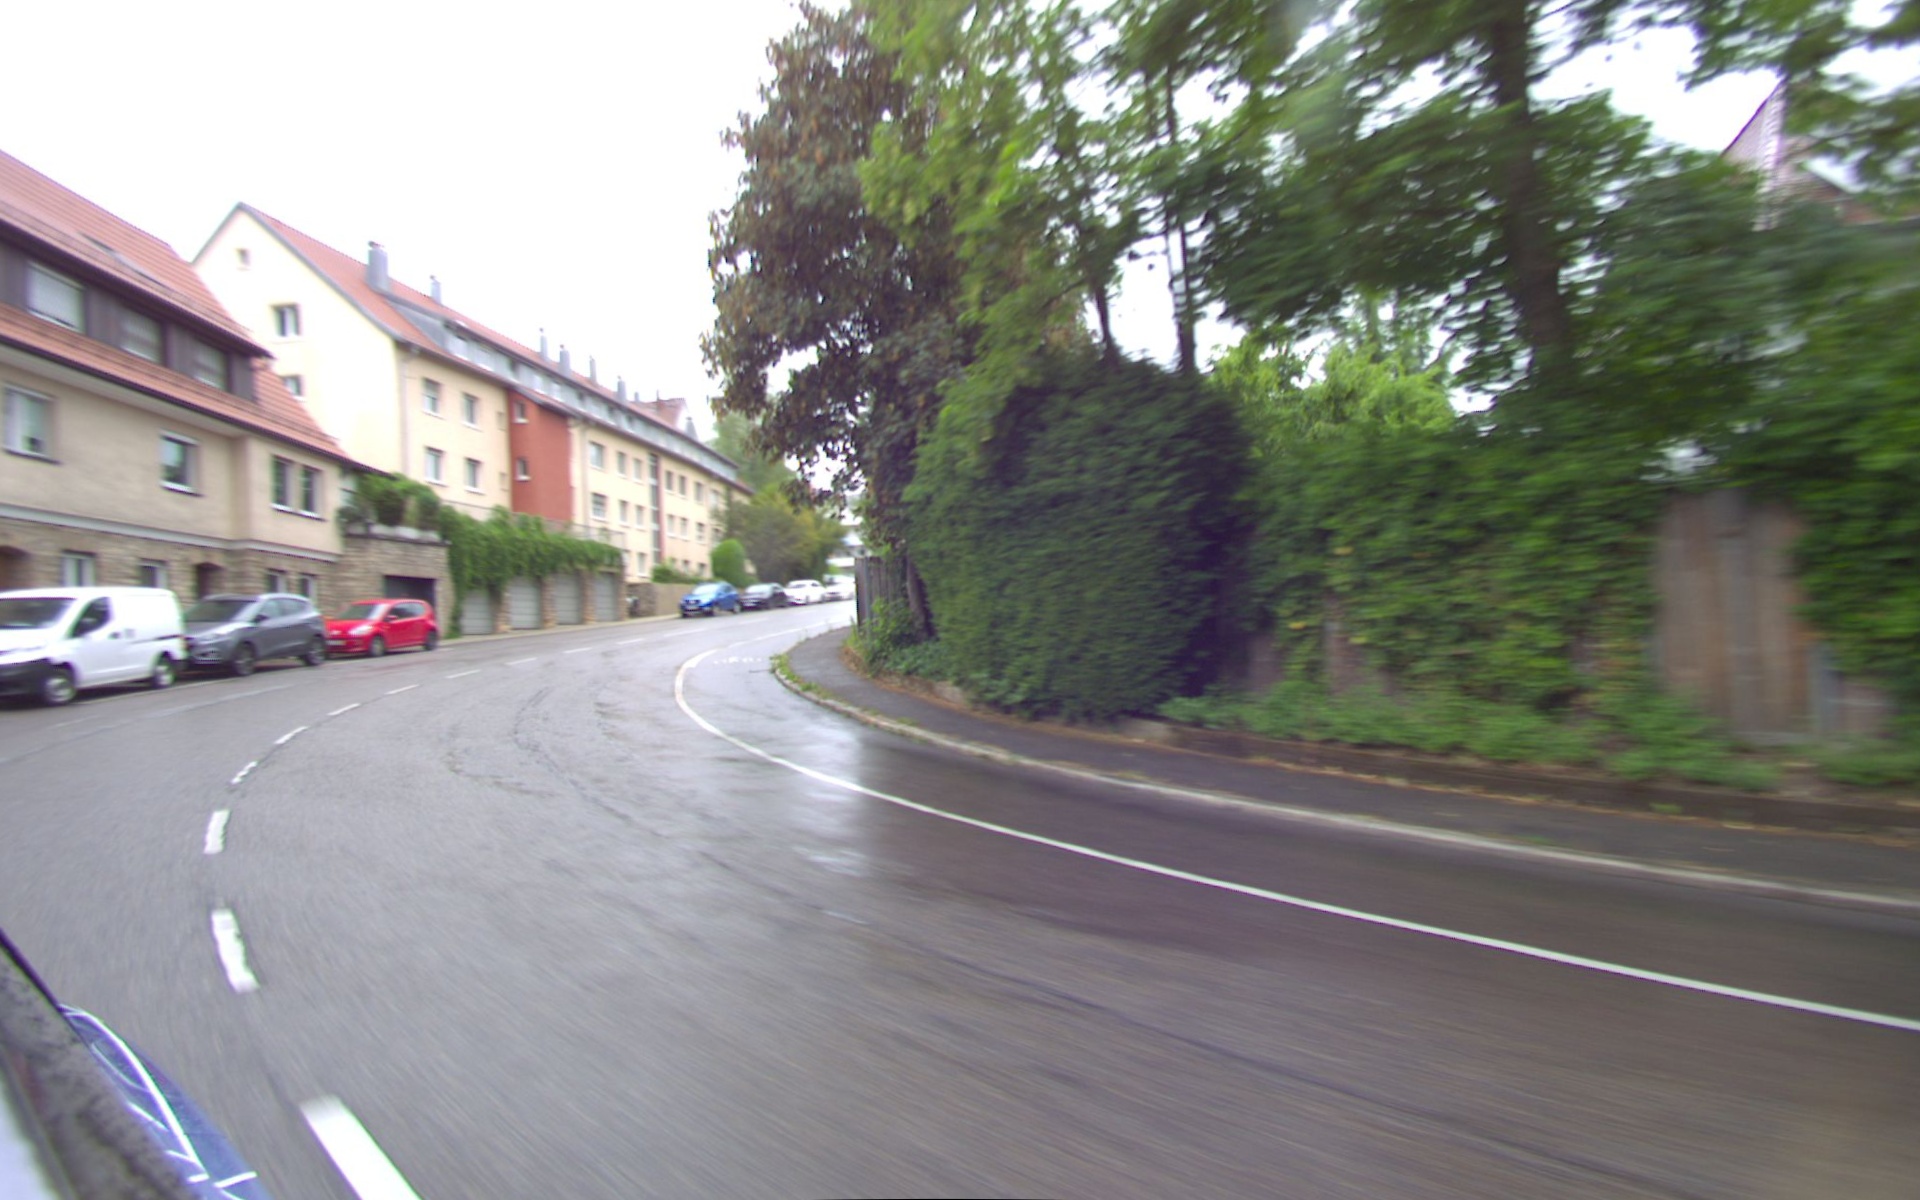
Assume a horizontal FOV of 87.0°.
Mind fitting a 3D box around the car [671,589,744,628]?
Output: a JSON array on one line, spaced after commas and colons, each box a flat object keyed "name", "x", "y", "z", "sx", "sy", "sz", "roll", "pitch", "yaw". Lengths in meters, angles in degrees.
[{"name": "car", "x": -11.957, "y": 0.363, "z": 48.165, "sx": 1.720, "sy": 1.605, "sz": 4.241, "roll": -3, "pitch": 1, "yaw": 10}]

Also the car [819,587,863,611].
[{"name": "car", "x": -8.127, "y": -0.086, "z": 69.332, "sx": 1.765, "sy": 1.446, "sz": 4.557, "roll": -5, "pitch": 0, "yaw": 8}]

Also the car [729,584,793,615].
[{"name": "car", "x": -10.609, "y": -0.080, "z": 54.217, "sx": 1.678, "sy": 1.466, "sz": 4.236, "roll": -3, "pitch": 1, "yaw": 14}]

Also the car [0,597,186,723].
[{"name": "car", "x": -14.920, "y": 0.903, "z": 16.658, "sx": 1.683, "sy": 1.804, "sz": 4.336, "roll": -2, "pitch": 0, "yaw": -11}]

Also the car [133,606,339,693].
[{"name": "car", "x": -15.415, "y": 0.967, "z": 21.864, "sx": 1.595, "sy": 1.616, "sz": 4.417, "roll": -1, "pitch": 0, "yaw": -5}]

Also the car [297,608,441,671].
[{"name": "car", "x": -15.670, "y": 0.999, "z": 27.051, "sx": 1.599, "sy": 1.446, "sz": 3.578, "roll": -1, "pitch": 1, "yaw": 3}]

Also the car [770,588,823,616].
[{"name": "car", "x": -9.687, "y": 0.090, "z": 60.228, "sx": 1.793, "sy": 1.466, "sz": 4.241, "roll": -3, "pitch": 1, "yaw": 10}]
